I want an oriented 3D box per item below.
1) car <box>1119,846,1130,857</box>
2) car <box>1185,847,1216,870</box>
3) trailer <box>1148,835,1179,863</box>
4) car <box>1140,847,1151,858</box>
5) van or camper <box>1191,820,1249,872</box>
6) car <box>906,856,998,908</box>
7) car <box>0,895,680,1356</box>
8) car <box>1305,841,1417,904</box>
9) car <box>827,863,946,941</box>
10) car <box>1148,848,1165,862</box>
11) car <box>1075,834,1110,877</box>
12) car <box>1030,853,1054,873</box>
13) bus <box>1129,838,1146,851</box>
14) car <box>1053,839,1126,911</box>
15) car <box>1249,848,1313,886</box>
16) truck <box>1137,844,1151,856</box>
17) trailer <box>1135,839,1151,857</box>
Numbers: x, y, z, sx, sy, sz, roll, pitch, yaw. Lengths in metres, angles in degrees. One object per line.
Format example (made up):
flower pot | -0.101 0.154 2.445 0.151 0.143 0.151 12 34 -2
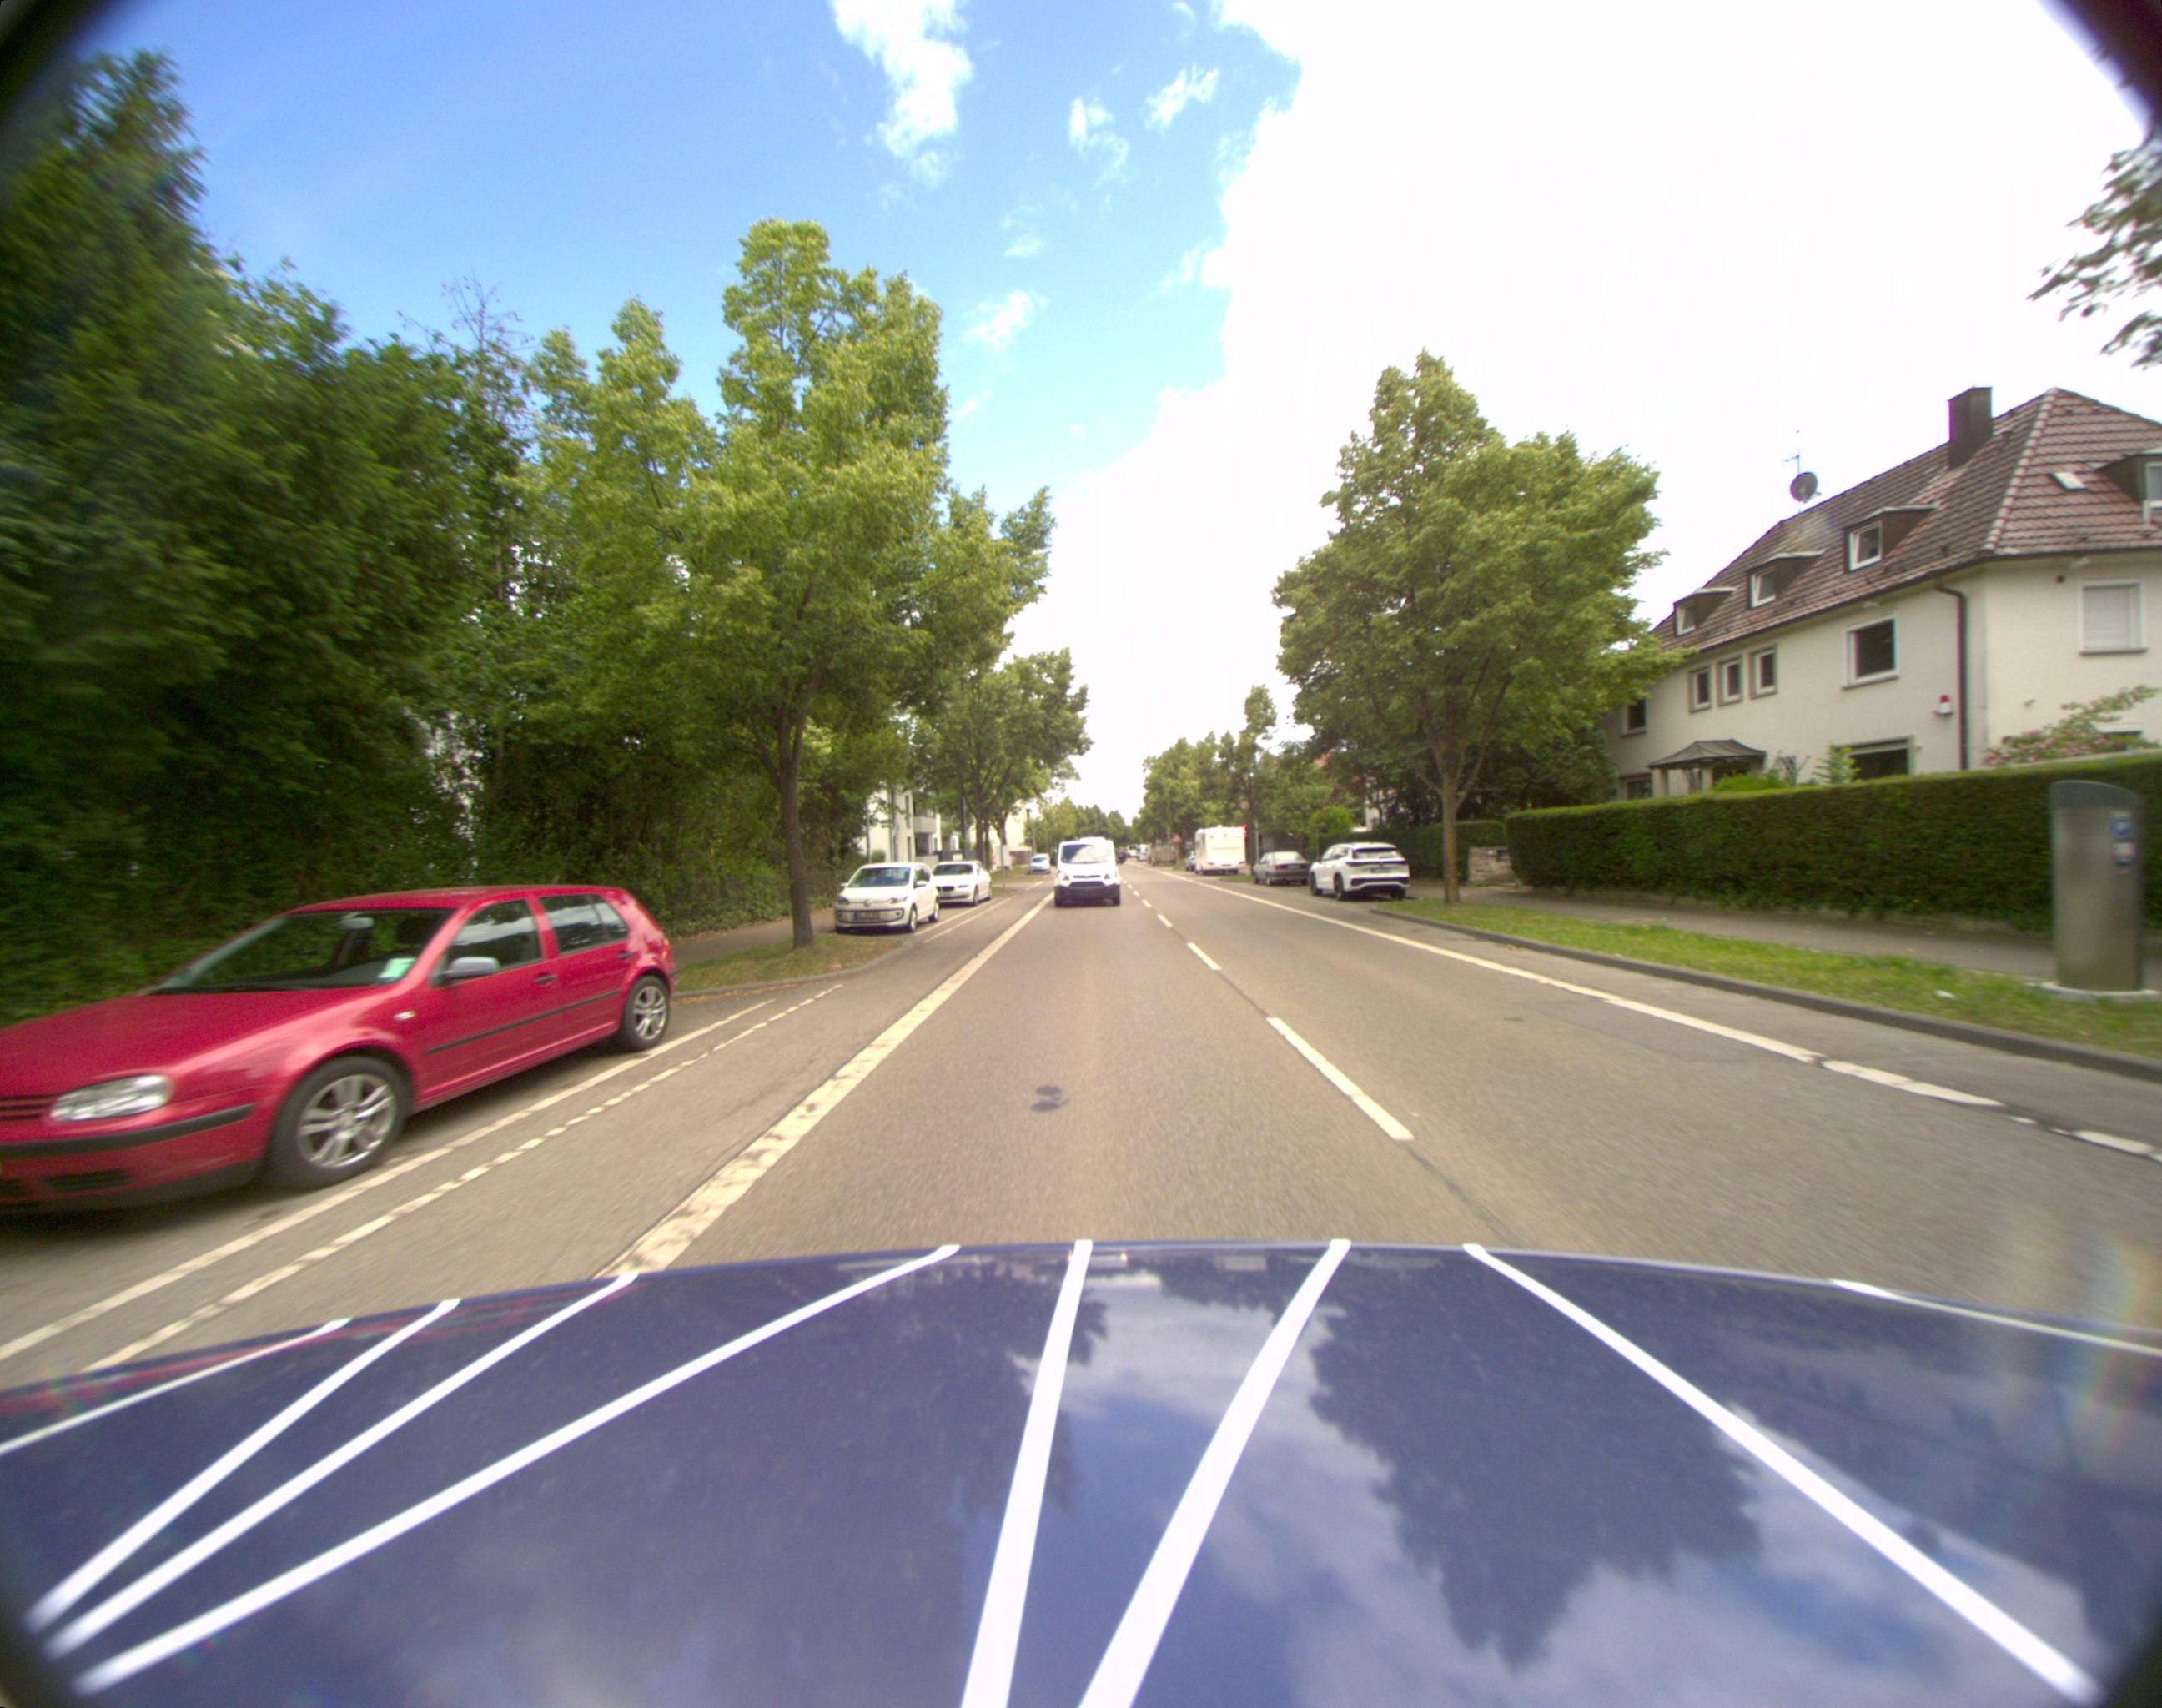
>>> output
car | 7.830 -0.488 136.929 1.764 1.793 4.768 -2 1 1
car | 8.964 0.291 57.397 1.726 1.591 4.272 -2 0 2
trailer | 9.364 -0.567 86.502 2.680 2.924 7.474 -3 1 1
car | 10.828 -0.329 127.612 1.693 1.674 4.225 -2 1 3
van or camper | 8.822 -0.515 48.939 2.441 2.992 7.693 -2 1 1
car | -4.161 0.840 25.370 2.026 1.435 5.025 -2 0 2
car | -4.497 1.111 4.766 1.642 1.412 4.000 -2 0 3
car | 8.296 0.492 22.982 1.821 1.642 4.699 -2 0 3
car | -4.216 0.987 17.010 1.619 1.451 3.657 -2 0 1
car | 9.993 0.085 101.018 1.865 1.544 4.618 -2 2 2
car | 0.786 0.086 49.189 1.998 2.584 4.001 -3 0 4
car | -3.169 0.740 62.815 1.691 1.484 4.227 -2 1 1
bus | 15.284 -2.550 204.416 2.809 3.270 18.055 2 1 9
car | 0.398 0.575 24.394 1.998 2.002 5.319 -2 1 4
car | 8.585 0.515 32.942 1.559 1.461 4.451 -2 0 0
truck | 11.670 -0.773 140.955 2.299 2.274 6.465 -2 1 7
trailer | 10.994 -1.056 134.253 2.377 2.946 7.013 -2 1 7
